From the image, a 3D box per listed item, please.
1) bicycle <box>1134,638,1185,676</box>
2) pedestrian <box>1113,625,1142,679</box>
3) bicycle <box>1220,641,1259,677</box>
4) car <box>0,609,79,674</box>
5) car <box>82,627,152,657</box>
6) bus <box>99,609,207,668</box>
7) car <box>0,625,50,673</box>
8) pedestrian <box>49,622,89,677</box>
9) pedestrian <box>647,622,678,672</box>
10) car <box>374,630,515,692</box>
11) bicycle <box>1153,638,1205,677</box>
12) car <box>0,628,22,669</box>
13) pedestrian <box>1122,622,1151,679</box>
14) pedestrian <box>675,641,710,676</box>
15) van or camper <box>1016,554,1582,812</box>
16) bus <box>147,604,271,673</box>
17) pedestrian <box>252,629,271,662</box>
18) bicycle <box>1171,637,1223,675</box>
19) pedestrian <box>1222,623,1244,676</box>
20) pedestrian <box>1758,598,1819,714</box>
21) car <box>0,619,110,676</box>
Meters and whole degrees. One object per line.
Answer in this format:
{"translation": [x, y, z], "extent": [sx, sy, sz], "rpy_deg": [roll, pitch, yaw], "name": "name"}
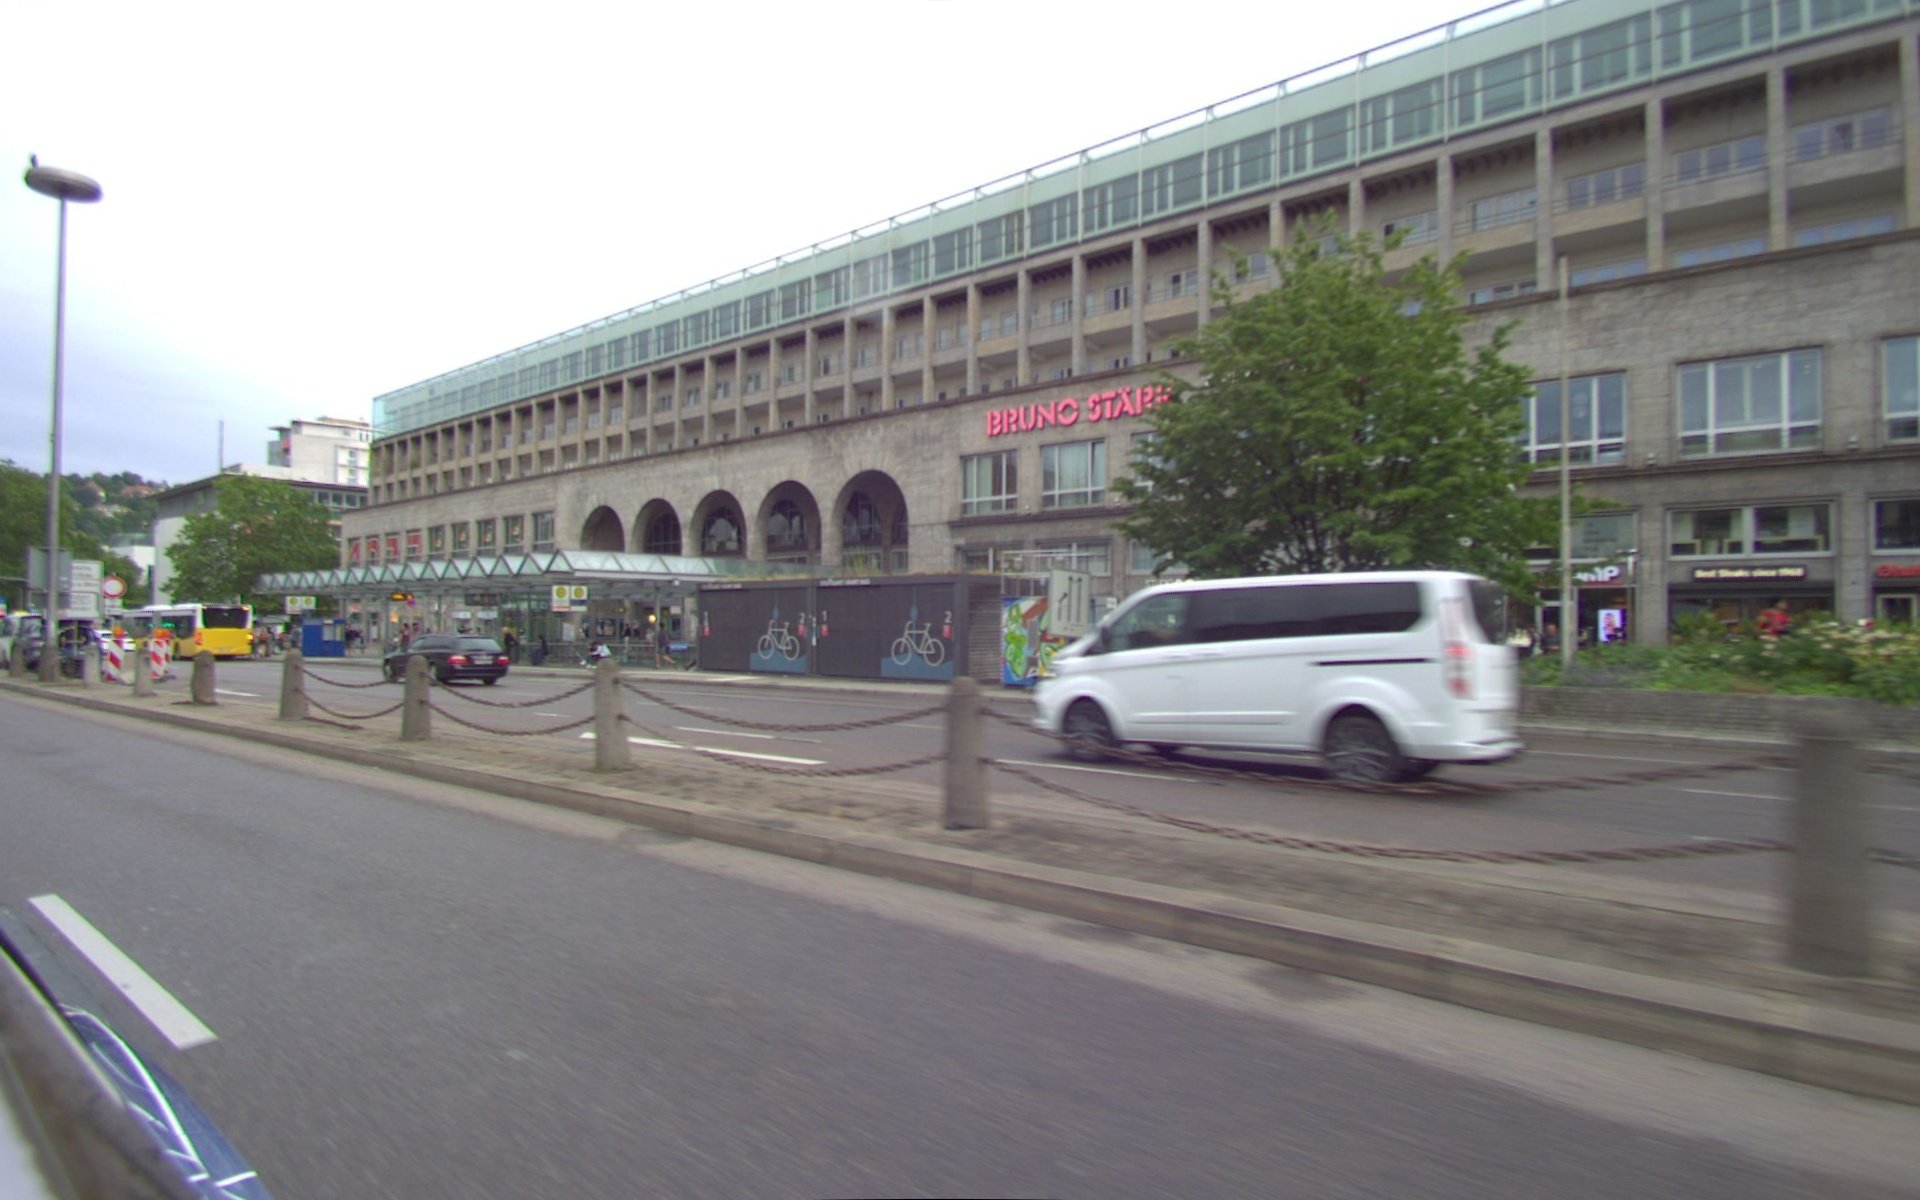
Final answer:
{"translation": [7.207, 2.032, 36.545], "extent": [0.663, 1.303, 2.340], "rpy_deg": [-2, -3, 43], "name": "bicycle"}
{"translation": [5.544, 1.726, 33.560], "extent": [0.728, 1.765, 0.659], "rpy_deg": [-2, -3, 38], "name": "pedestrian"}
{"translation": [9.477, 1.994, 34.283], "extent": [0.502, 1.169, 1.885], "rpy_deg": [-2, -3, 41], "name": "bicycle"}
{"translation": [-33.746, 1.485, 36.529], "extent": [5.538, 2.195, 1.974], "rpy_deg": [-2, -3, 39], "name": "car"}
{"translation": [-46.474, 2.339, 55.754], "extent": [4.828, 1.576, 1.943], "rpy_deg": [-2, -5, 38], "name": "car"}
{"translation": [-49.917, 2.373, 62.462], "extent": [10.560, 3.402, 2.849], "rpy_deg": [-2, -3, 38], "name": "bus"}
{"translation": [-37.664, 1.892, 39.889], "extent": [4.577, 1.820, 1.911], "rpy_deg": [-1, -3, 39], "name": "car"}
{"translation": [-27.225, 1.503, 30.919], "extent": [0.762, 1.665, 0.753], "rpy_deg": [-2, -3, 39], "name": "pedestrian"}
{"translation": [-11.539, 1.809, 39.220], "extent": [0.929, 1.870, 0.712], "rpy_deg": [-2, -1, 39], "name": "pedestrian"}
{"translation": [-15.007, 1.699, 29.353], "extent": [4.976, 1.629, 1.972], "rpy_deg": [-1, -2, 42], "name": "car"}
{"translation": [7.766, 2.012, 35.838], "extent": [0.663, 1.303, 2.340], "rpy_deg": [-2, -3, 43], "name": "bicycle"}
{"translation": [-41.752, 2.020, 43.046], "extent": [4.878, 1.712, 1.911], "rpy_deg": [-1, -3, 38], "name": "car"}
{"translation": [5.951, 1.692, 34.126], "extent": [0.728, 1.867, 0.659], "rpy_deg": [-2, -3, 38], "name": "pedestrian"}
{"translation": [-9.594, 2.094, 36.255], "extent": [1.259, 1.191, 0.574], "rpy_deg": [-2, -1, 39], "name": "pedestrian"}
{"translation": [3.222, 0.709, 10.448], "extent": [5.187, 2.029, 1.972], "rpy_deg": [-1, -2, 42], "name": "van or camper"}
{"translation": [-41.654, 2.093, 55.943], "extent": [10.560, 3.486, 2.850], "rpy_deg": [-2, -2, 38], "name": "bus"}
{"translation": [-38.116, 2.468, 55.227], "extent": [0.855, 1.738, 0.617], "rpy_deg": [-2, -1, 39], "name": "pedestrian"}
{"translation": [8.283, 1.934, 35.279], "extent": [0.663, 1.303, 2.340], "rpy_deg": [-2, -3, 43], "name": "bicycle"}
{"translation": [9.670, 1.743, 35.840], "extent": [0.603, 1.869, 0.674], "rpy_deg": [-1, -3, 32], "name": "pedestrian"}
{"translation": [14.936, 0.993, 18.245], "extent": [0.793, 2.029, 0.660], "rpy_deg": [-2, -3, 41], "name": "pedestrian"}
{"translation": [-29.334, 1.506, 32.724], "extent": [4.777, 1.735, 1.974], "rpy_deg": [-2, -3, 39], "name": "car"}
